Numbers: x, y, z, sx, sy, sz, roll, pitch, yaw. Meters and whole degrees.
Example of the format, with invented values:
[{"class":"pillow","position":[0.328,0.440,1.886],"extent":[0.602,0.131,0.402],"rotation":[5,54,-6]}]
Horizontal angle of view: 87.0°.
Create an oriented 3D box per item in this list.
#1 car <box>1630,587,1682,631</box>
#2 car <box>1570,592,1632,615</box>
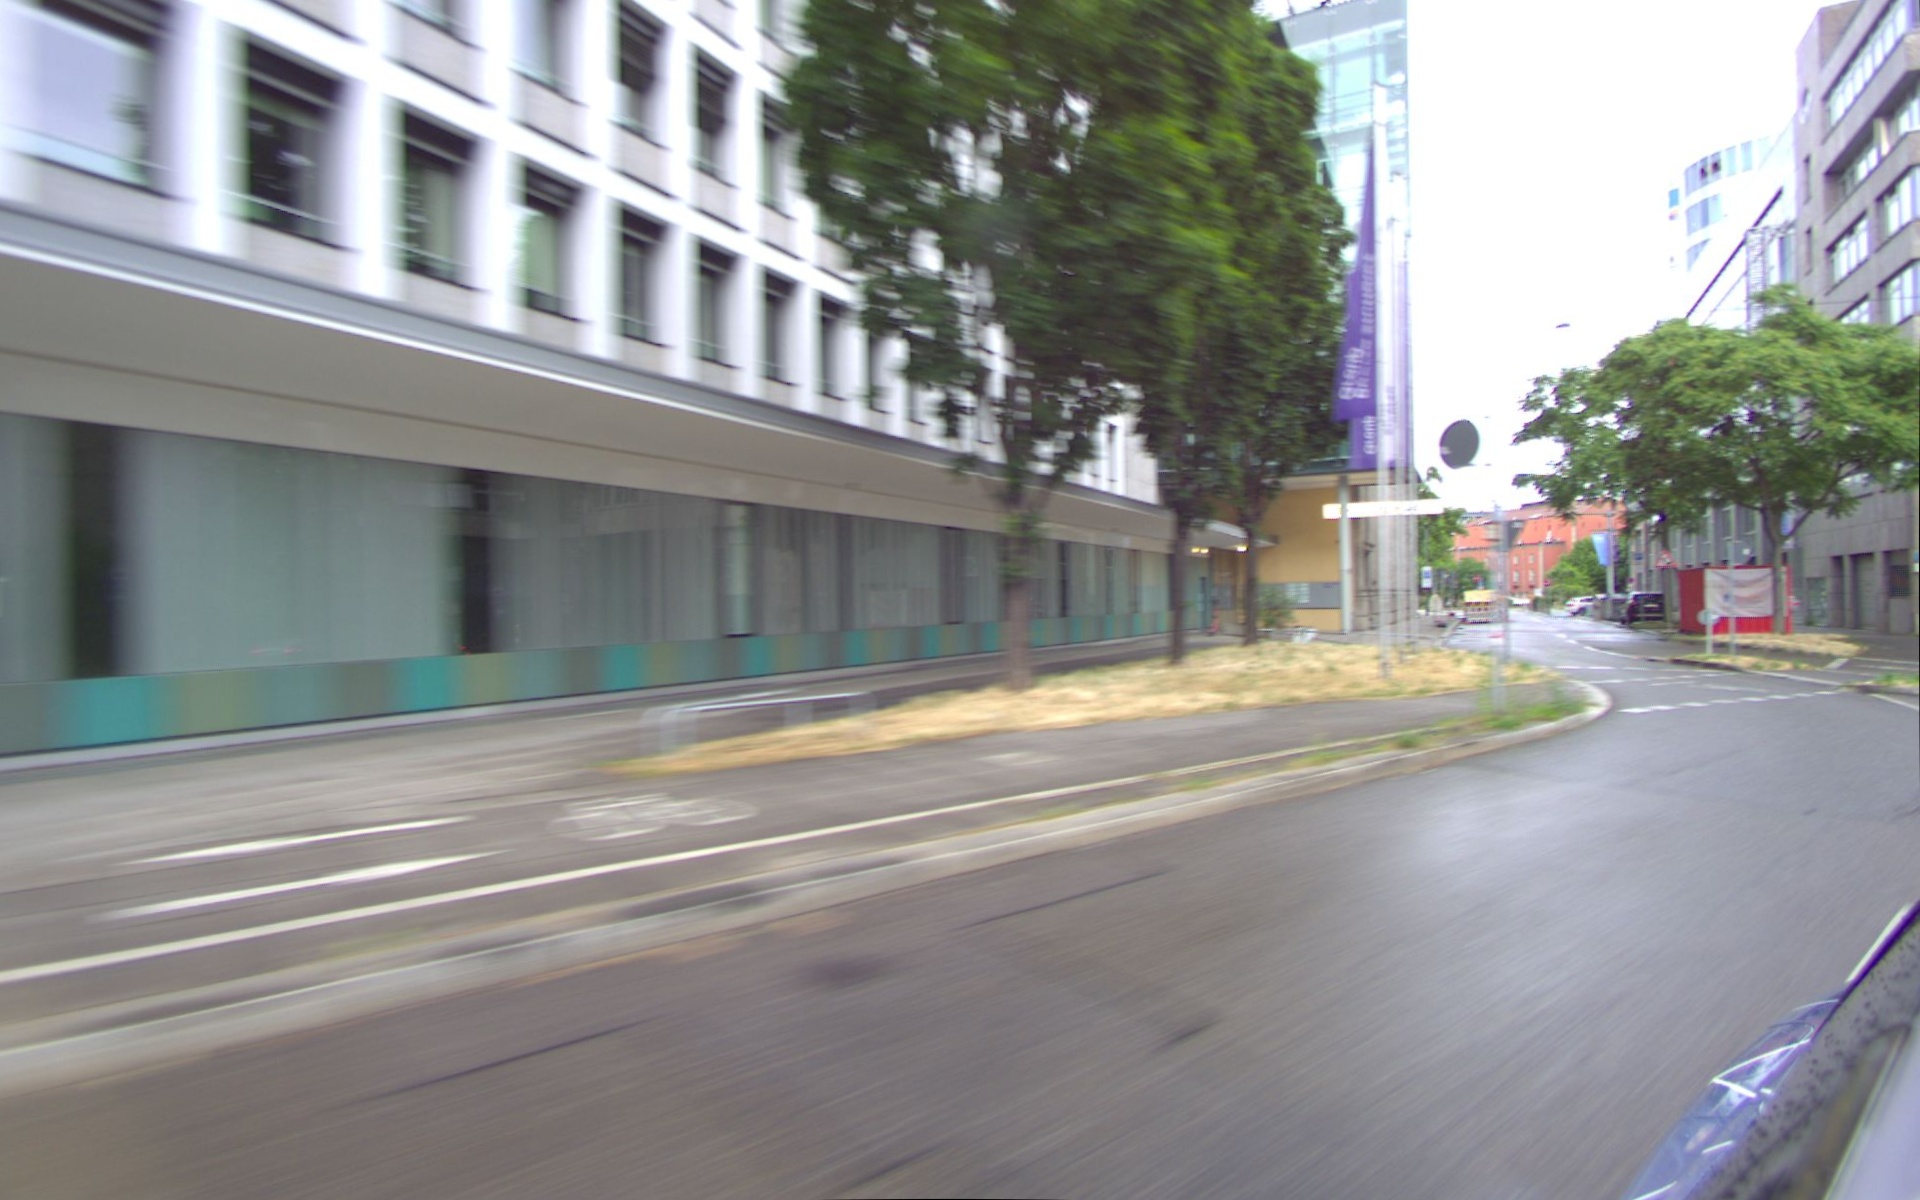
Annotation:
[{"class":"car","position":[35.187,0.446,51.257],"extent":[1.985,2.106,3.952],"rotation":[-2,-1,33]},{"class":"car","position":[51.419,0.252,81.243],"extent":[3.717,1.671,1.791],"rotation":[2,0,15]}]
